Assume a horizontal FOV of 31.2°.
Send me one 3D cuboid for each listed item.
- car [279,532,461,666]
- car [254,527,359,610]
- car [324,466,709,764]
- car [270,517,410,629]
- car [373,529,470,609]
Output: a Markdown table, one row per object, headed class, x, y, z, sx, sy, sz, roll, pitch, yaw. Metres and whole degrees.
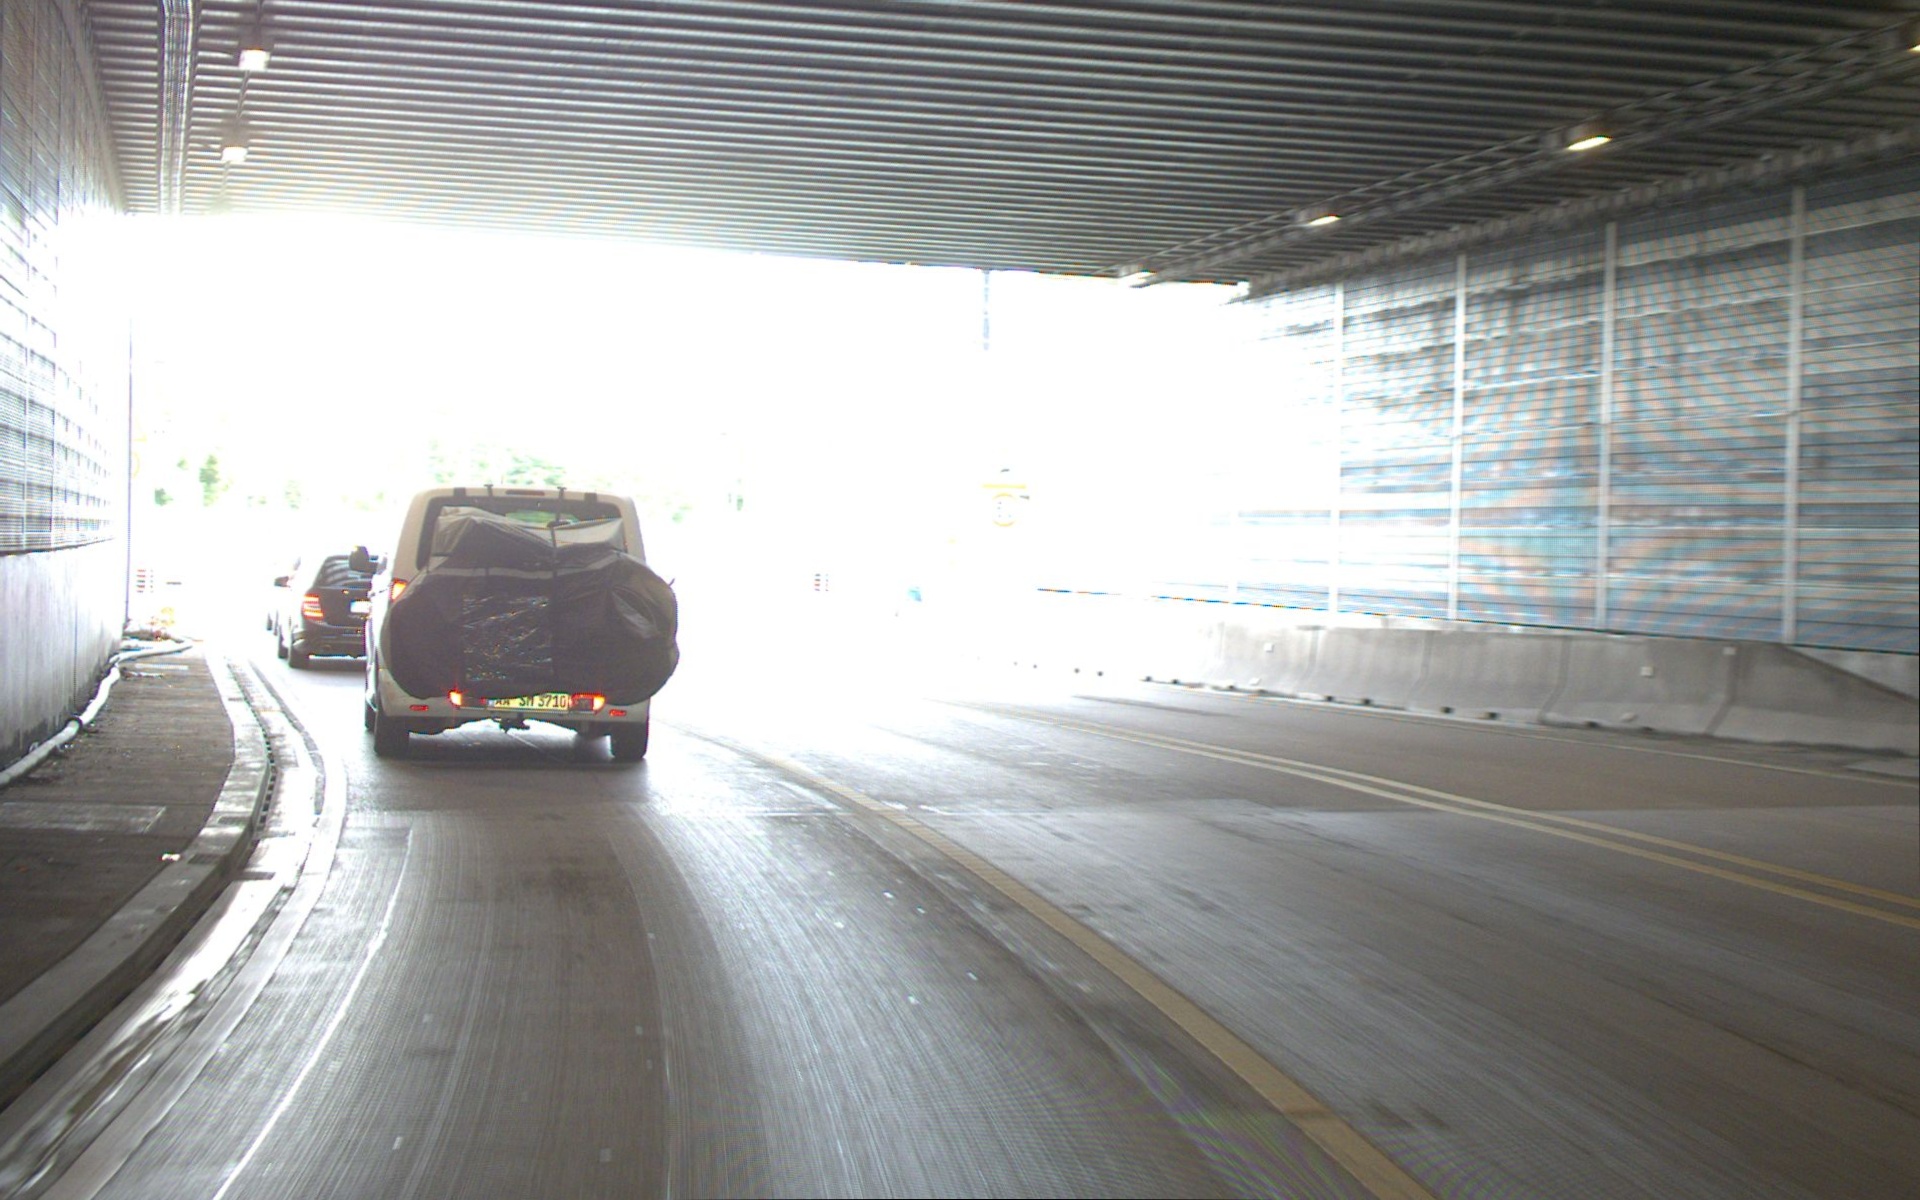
| class | x | y | z | sx | sy | sz | roll | pitch | yaw |
| --- | --- | --- | --- | --- | --- | --- | --- | --- | --- |
| car | -6.877 | -0.045 | 39.824 | 1.814 | 1.429 | 4.067 | 1 | 1 | -13 |
| car | -13.441 | -0.663 | 70.879 | 1.993 | 1.658 | 4.001 | 0 | 1 | -9 |
| car | -3.282 | 0.034 | 24.364 | 1.992 | 1.852 | 5.643 | 0 | 1 | -15 |
| car | -9.198 | -0.433 | 51.136 | 1.920 | 1.483 | 4.067 | 2 | 2 | -10 |
| car | -11.550 | -0.674 | 73.731 | 1.993 | 1.658 | 4.001 | 0 | 1 | -9 |
